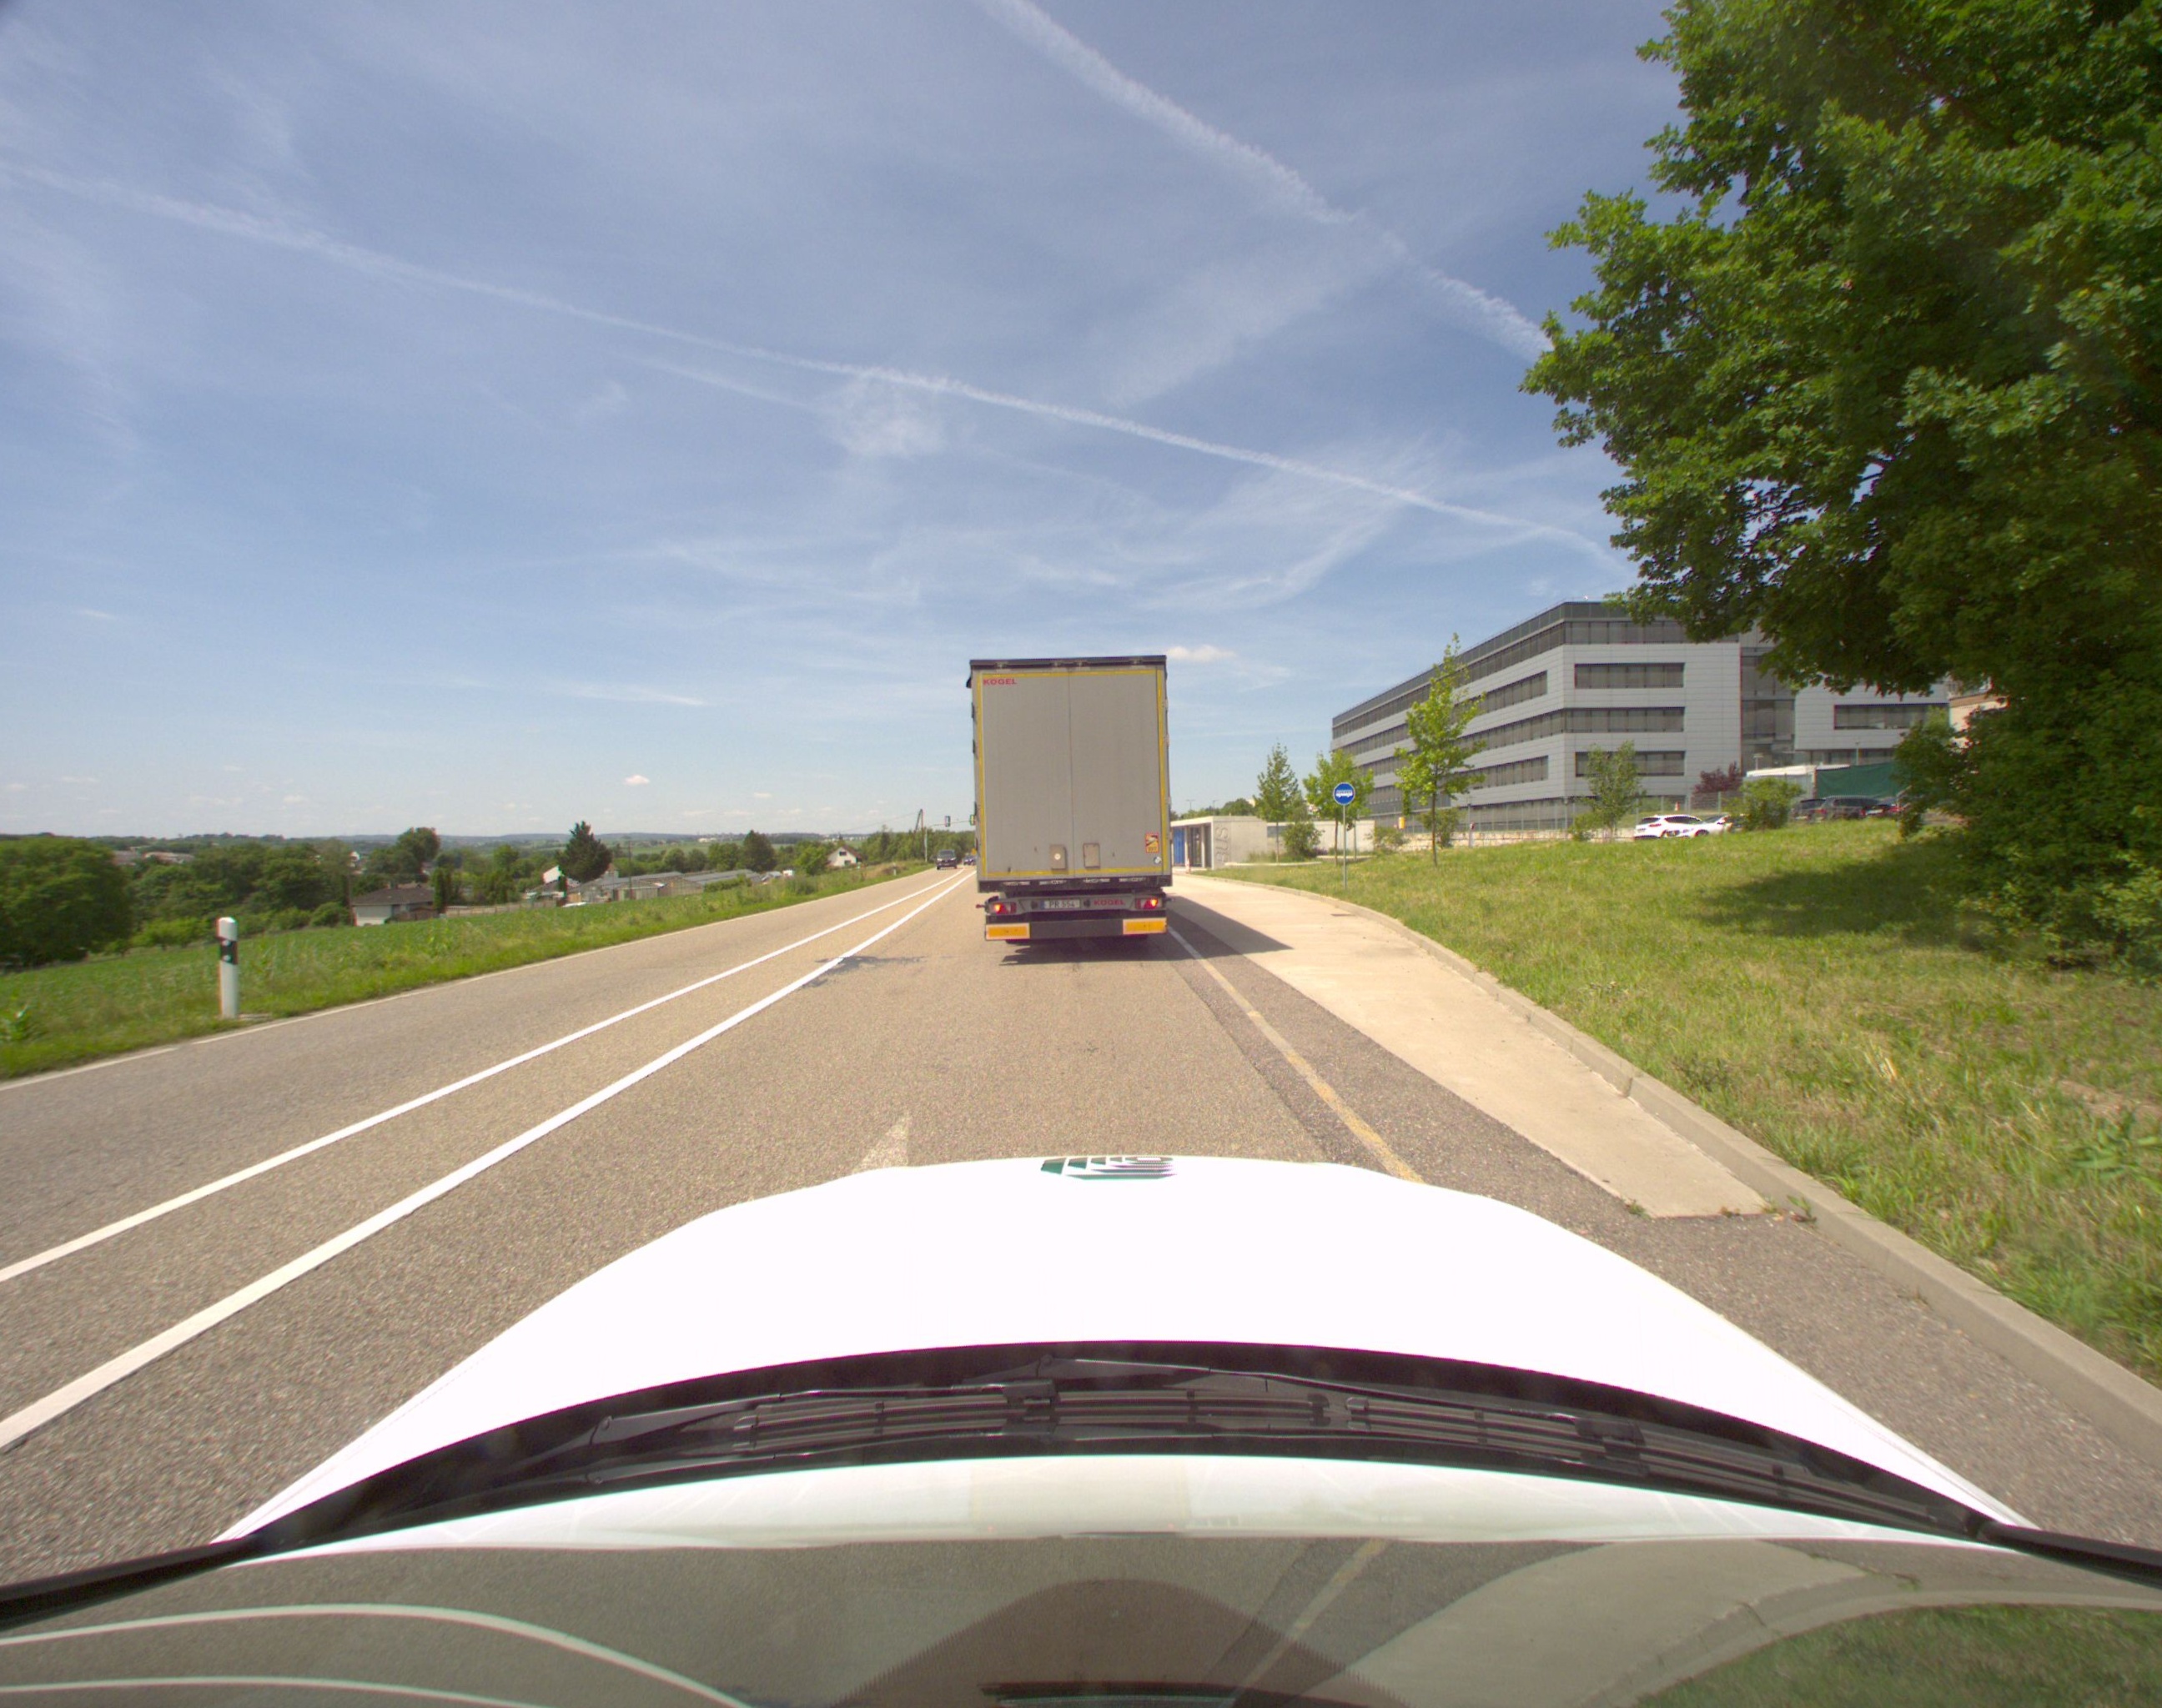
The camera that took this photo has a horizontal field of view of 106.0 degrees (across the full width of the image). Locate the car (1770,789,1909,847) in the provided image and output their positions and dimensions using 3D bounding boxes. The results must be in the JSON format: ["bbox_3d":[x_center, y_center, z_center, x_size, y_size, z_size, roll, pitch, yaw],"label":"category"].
[{"bbox_3d":[30.608,-1.444,32.940,3.978,1.921,1.754,-5,-1,-3],"label":"car"}]

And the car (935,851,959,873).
[{"bbox_3d":[-13.638,0.794,83.103,1.991,1.978,5.268,-3,0,-6],"label":"car"}]

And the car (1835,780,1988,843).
[{"bbox_3d":[31.168,-1.567,30.643,3.978,1.921,1.754,-5,-1,-3],"label":"car"}]

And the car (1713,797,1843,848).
[{"bbox_3d":[30.407,-1.355,35.626,3.978,1.814,1.976,-5,-1,-3],"label":"car"}]

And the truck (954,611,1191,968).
[{"bbox_3d":[-0.139,-0.836,14.560,2.898,4.409,8.857,-1,0,-1],"label":"truck"}]

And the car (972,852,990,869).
[{"bbox_3d":[-12.552,0.821,102.572,1.991,1.949,4.494,-3,0,-6],"label":"car"}]

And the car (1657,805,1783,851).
[{"bbox_3d":[30.980,-1.254,39.558,4.540,1.766,1.976,-5,-1,-3],"label":"car"}]

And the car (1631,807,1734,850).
[{"bbox_3d":[31.087,-1.305,42.132,3.978,1.814,1.754,-5,-1,-3],"label":"car"}]

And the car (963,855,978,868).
[{"bbox_3d":[-17.335,1.175,128.052,1.990,1.815,4.289,-4,1,-5],"label":"car"}]
